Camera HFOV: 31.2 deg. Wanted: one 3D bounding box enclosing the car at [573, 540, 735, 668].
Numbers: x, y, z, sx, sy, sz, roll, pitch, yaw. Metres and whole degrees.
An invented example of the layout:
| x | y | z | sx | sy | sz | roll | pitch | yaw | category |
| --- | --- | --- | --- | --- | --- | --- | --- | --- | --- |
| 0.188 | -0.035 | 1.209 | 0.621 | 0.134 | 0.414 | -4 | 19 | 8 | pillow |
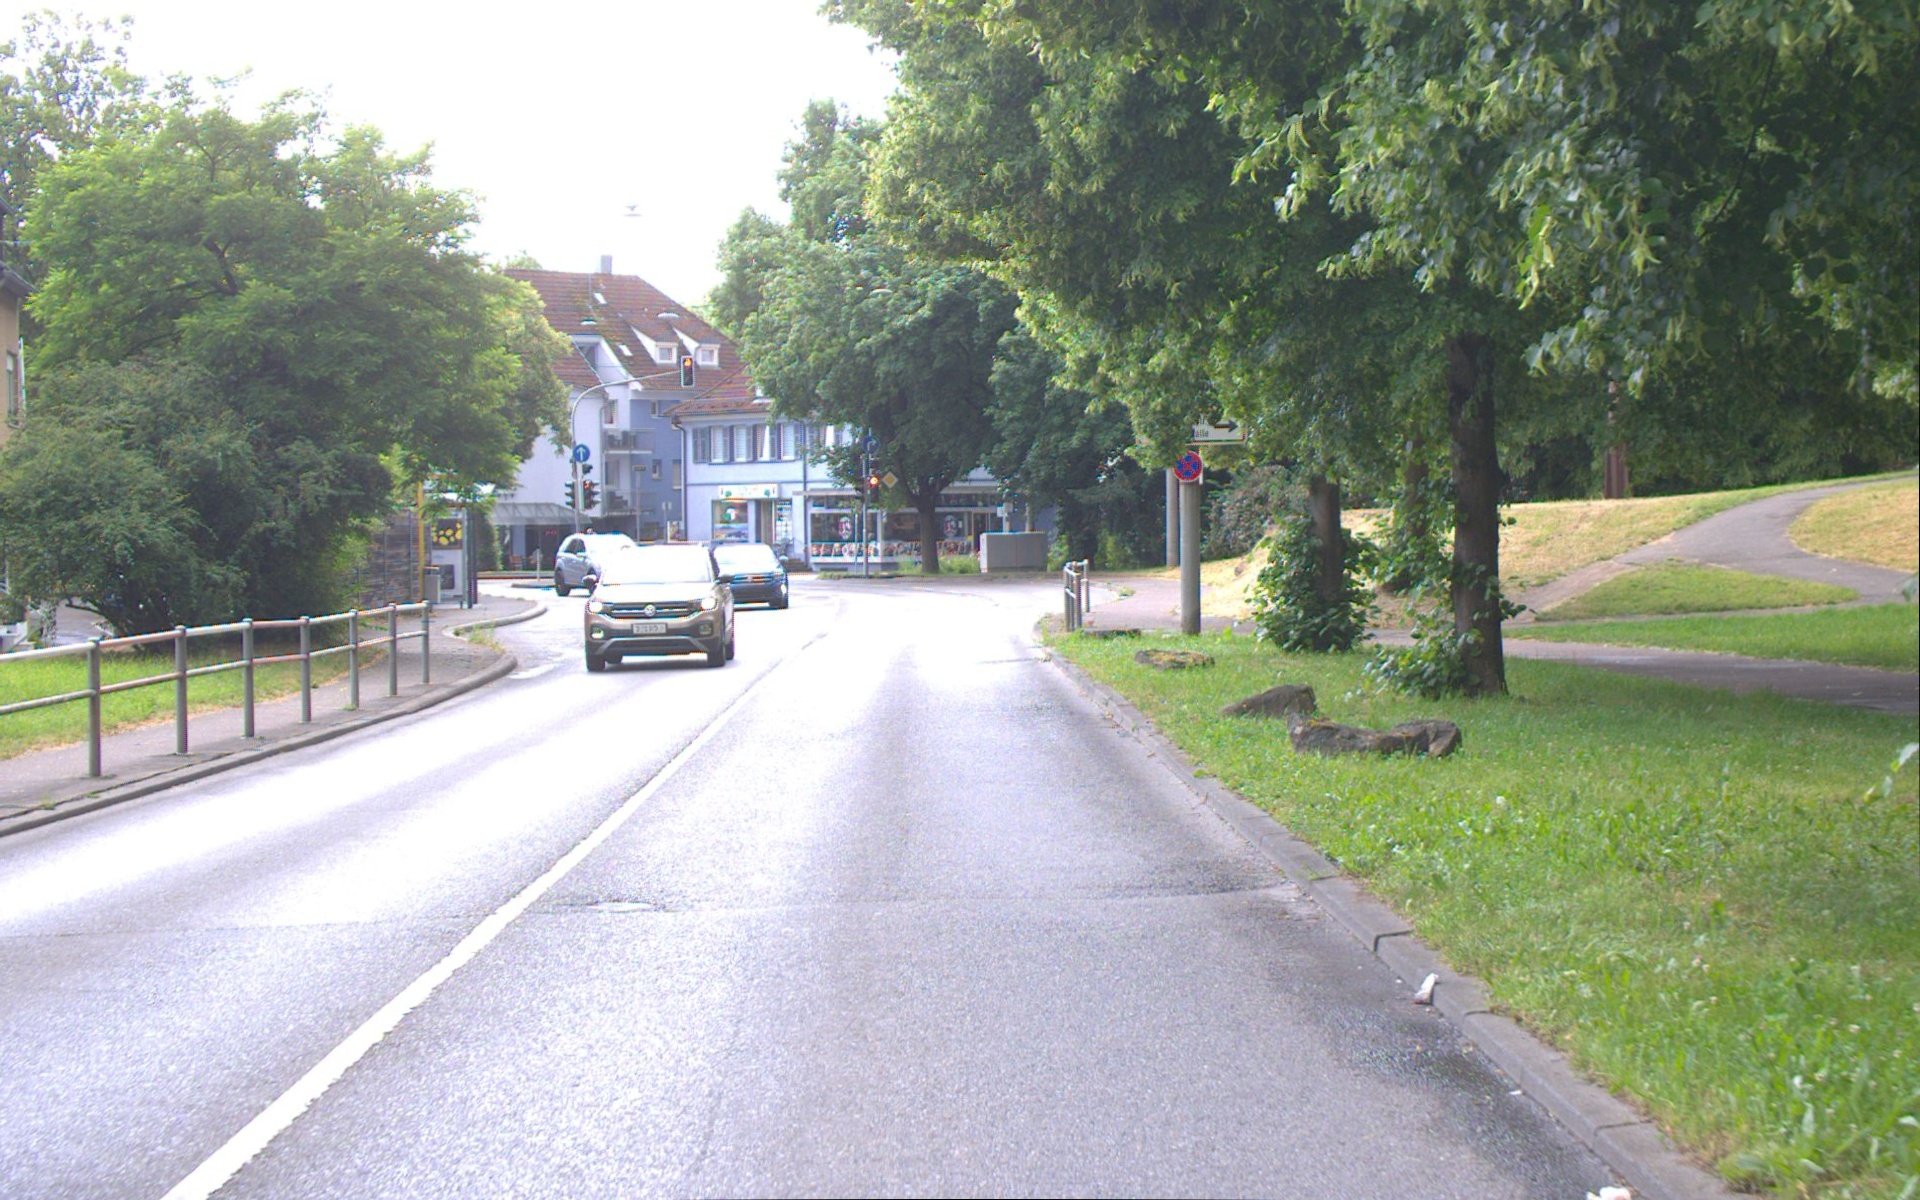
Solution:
| x | y | z | sx | sy | sz | roll | pitch | yaw | category |
| --- | --- | --- | --- | --- | --- | --- | --- | --- | --- |
| -3.906 | 0.019 | 44.381 | 1.704 | 1.506 | 4.000 | -3 | 1 | 0 | car |

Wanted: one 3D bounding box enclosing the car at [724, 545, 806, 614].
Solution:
| x | y | z | sx | sy | sz | roll | pitch | yaw | category |
| --- | --- | --- | --- | --- | --- | --- | --- | --- | --- |
| -4.455 | -0.497 | 78.931 | 1.716 | 1.463 | 4.100 | -2 | 1 | -2 | car |
